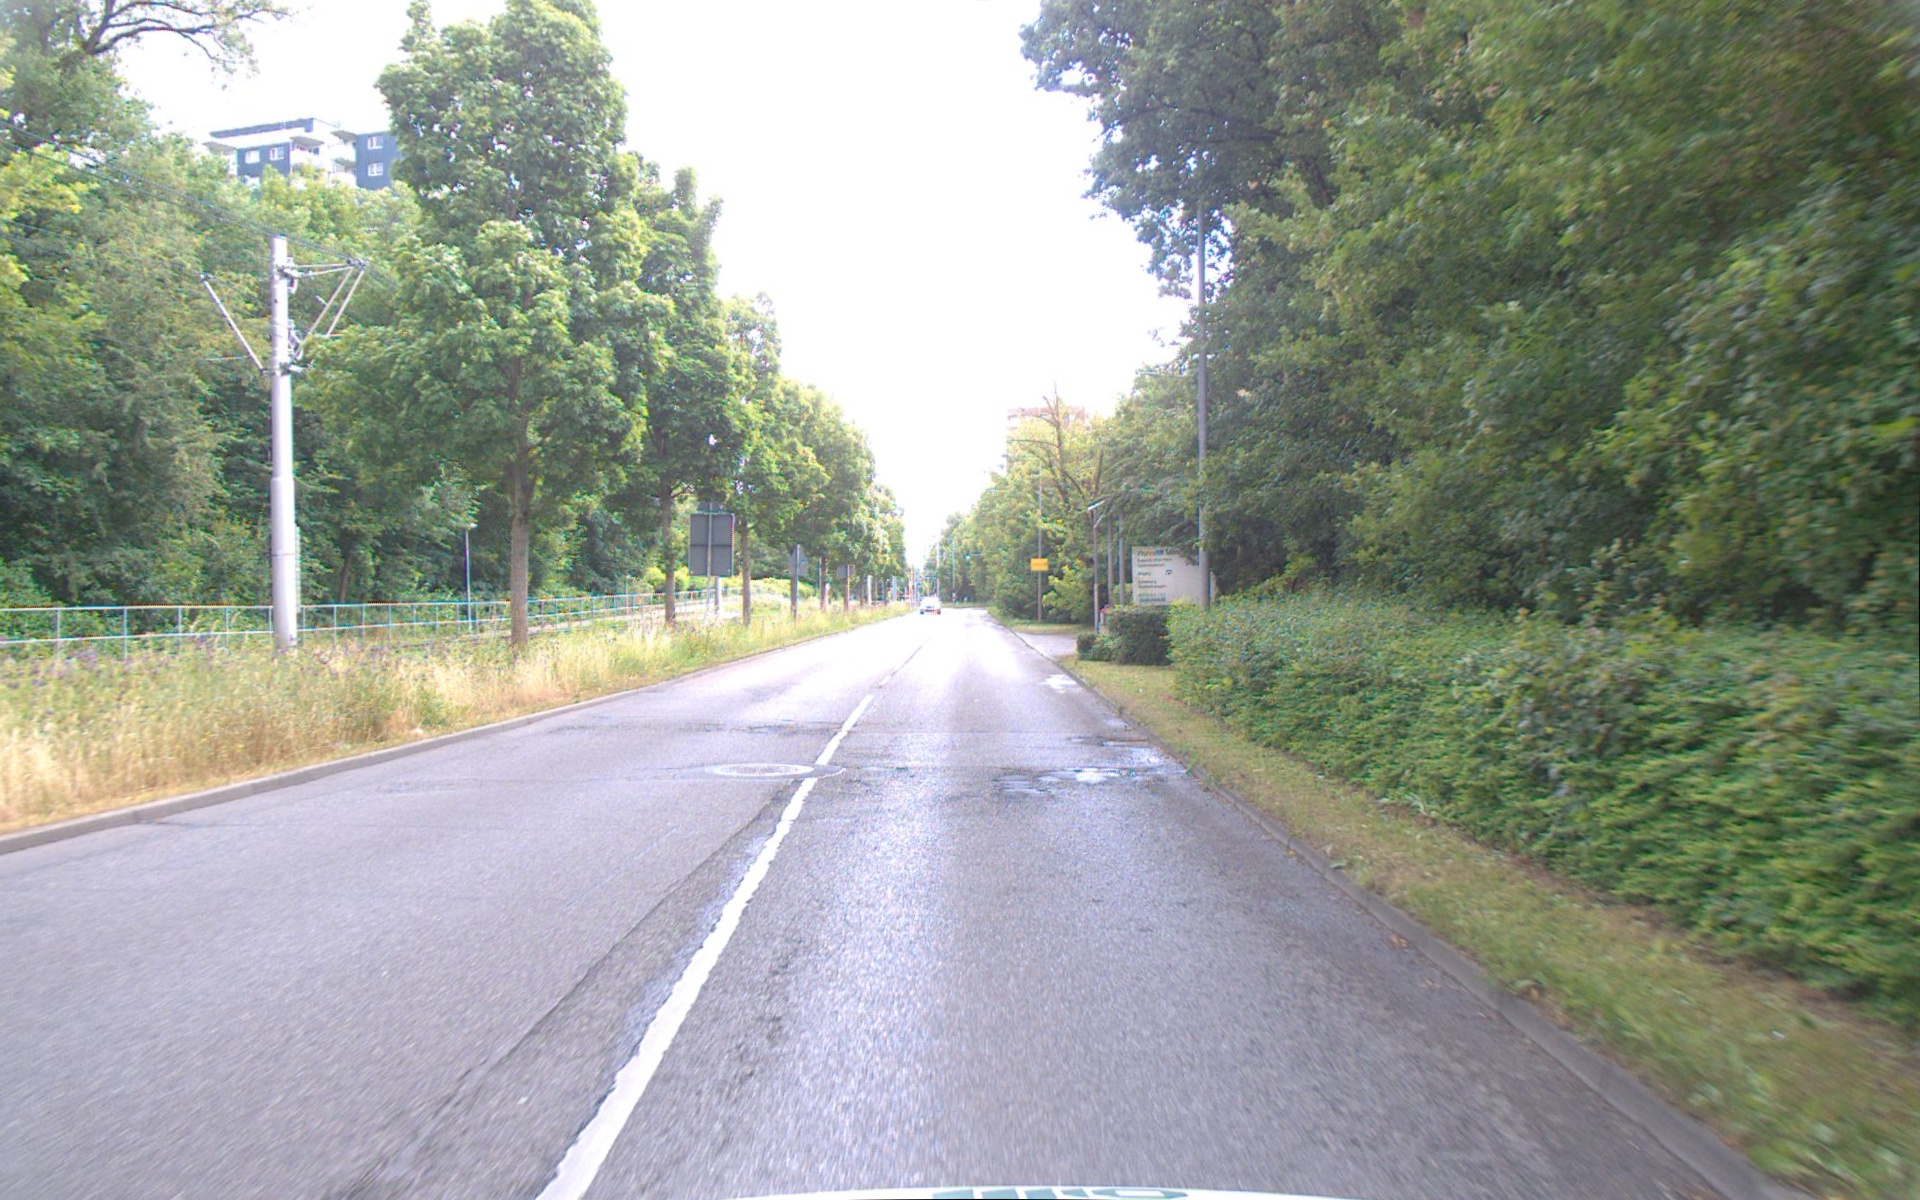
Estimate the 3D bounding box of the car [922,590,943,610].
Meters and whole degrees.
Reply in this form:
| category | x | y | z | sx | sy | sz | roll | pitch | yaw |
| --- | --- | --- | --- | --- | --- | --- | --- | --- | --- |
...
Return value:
| category | x | y | z | sx | sy | sz | roll | pitch | yaw |
| --- | --- | --- | --- | --- | --- | --- | --- | --- | --- |
| car | -2.381 | -0.041 | 145.440 | 1.681 | 1.658 | 4.000 | 3 | 0 | 0 |
